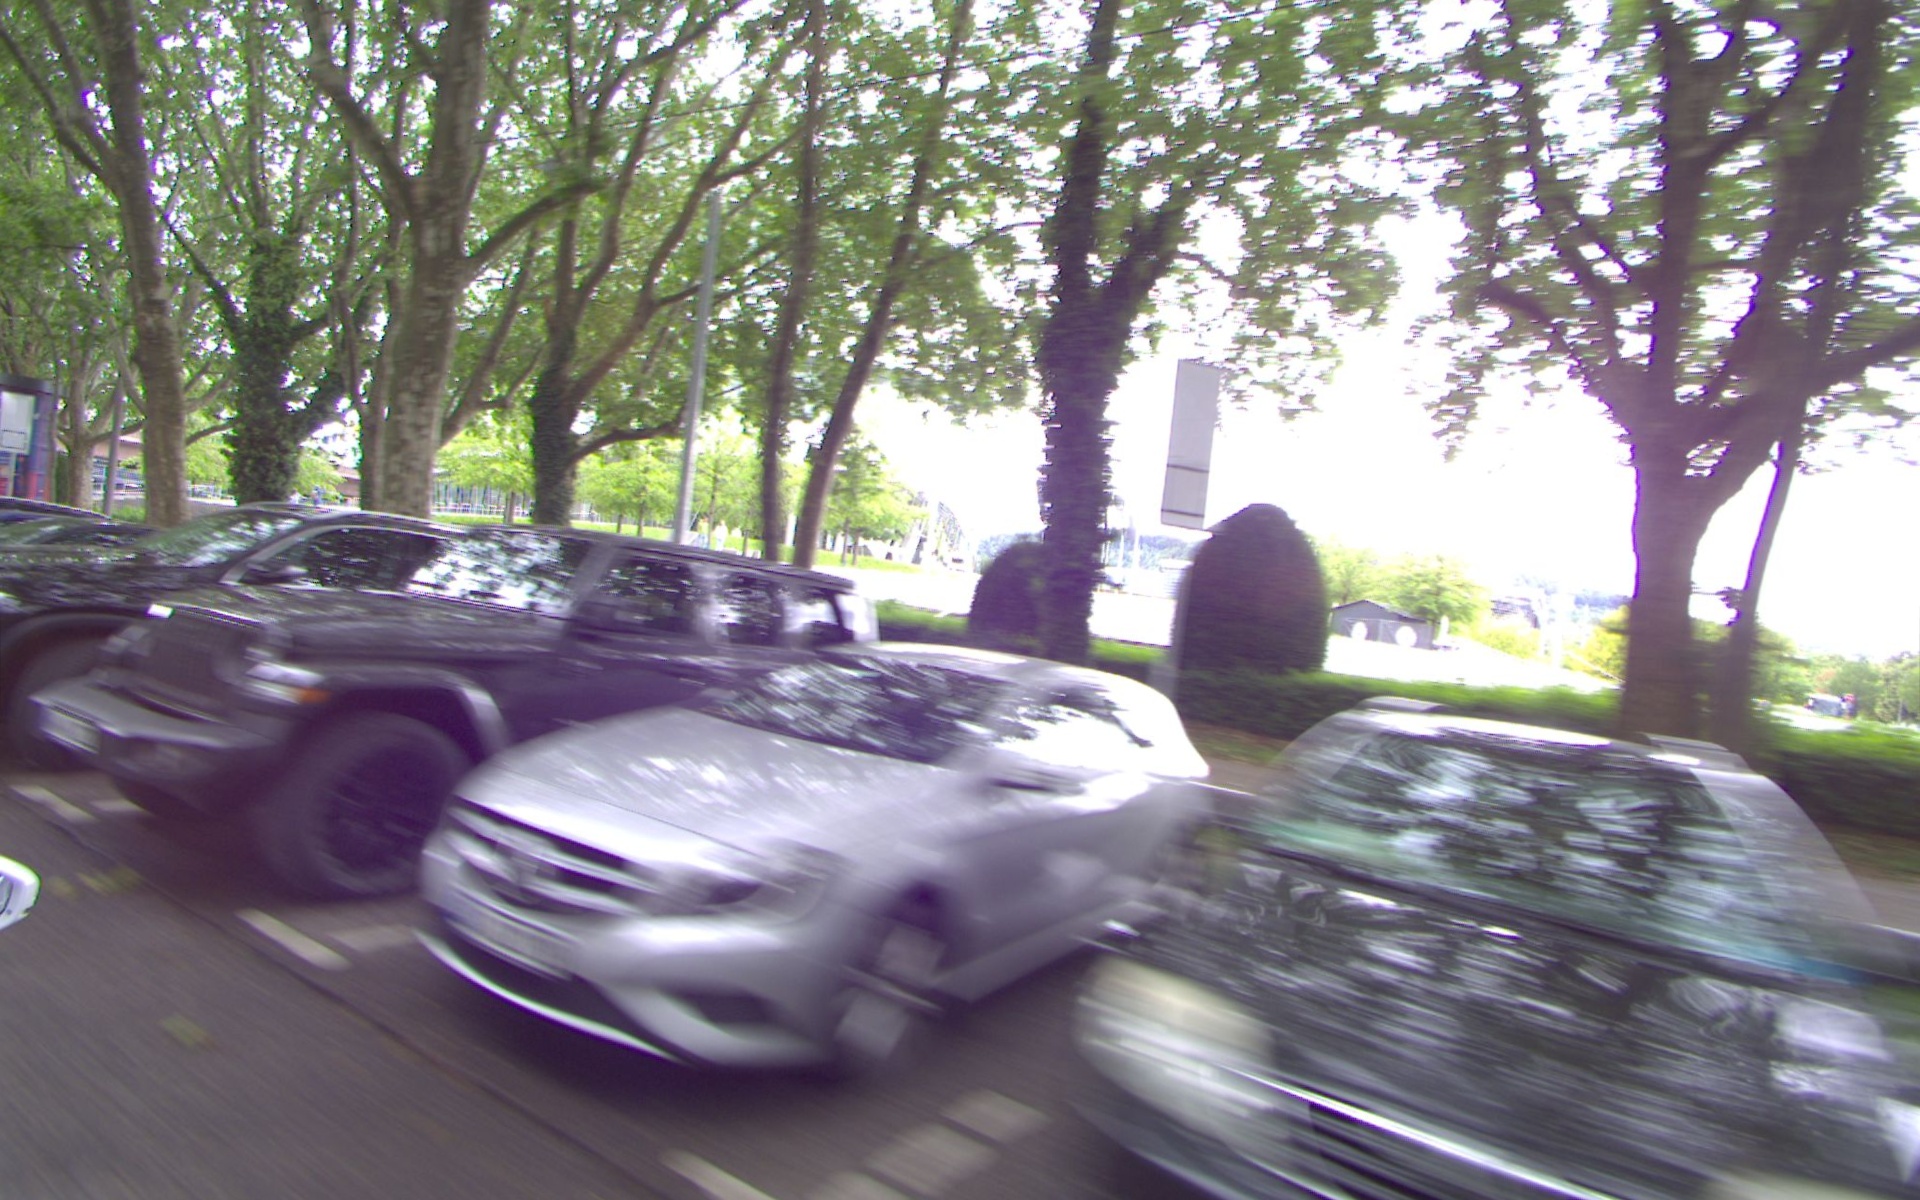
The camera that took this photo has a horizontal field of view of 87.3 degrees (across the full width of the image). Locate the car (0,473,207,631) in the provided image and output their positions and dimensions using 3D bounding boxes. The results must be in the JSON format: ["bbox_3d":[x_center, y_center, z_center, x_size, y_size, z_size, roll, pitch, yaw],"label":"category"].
[{"bbox_3d":[-12.803,-0.772,12.872,2.011,1.817,4.510,8,-2,26],"label":"car"}]

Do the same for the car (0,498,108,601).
[{"bbox_3d":[-16.758,-1.058,16.055,1.893,1.519,4.356,7,-2,31],"label":"car"}]

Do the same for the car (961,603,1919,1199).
[{"bbox_3d":[1.871,1.091,3.429,1.755,1.535,4.206,6,-3,31],"label":"car"}]

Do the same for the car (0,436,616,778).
[{"bbox_3d":[-5.099,0.114,7.334,2.013,1.817,4.505,7,-2,31],"label":"car"}]

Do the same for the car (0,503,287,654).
[{"bbox_3d":[-10.660,-0.343,11.495,1.799,1.436,4.502,7,-2,33],"label":"car"}]

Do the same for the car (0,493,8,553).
[{"bbox_3d":[-20.685,-1.579,18.229,1.842,1.658,4.598,7,-2,34],"label":"car"}]

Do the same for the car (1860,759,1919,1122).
[{"bbox_3d":[4.378,1.450,2.757,1.754,1.536,4.207,7,-2,29],"label":"car"}]

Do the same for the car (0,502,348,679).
[{"bbox_3d":[-8.927,-0.161,9.889,1.900,1.444,4.504,7,-2,32],"label":"car"}]

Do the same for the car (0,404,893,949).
[{"bbox_3d":[-2.545,0.387,5.983,2.012,1.888,4.508,8,-2,28],"label":"car"}]

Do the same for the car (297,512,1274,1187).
[{"bbox_3d":[-0.239,0.812,4.938,2.015,1.590,4.501,7,-2,35],"label":"car"}]

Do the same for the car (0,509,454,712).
[{"bbox_3d":[-6.871,0.120,8.757,1.711,1.406,3.990,7,-2,33],"label":"car"}]

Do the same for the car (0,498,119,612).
[{"bbox_3d":[-15.035,-0.882,14.205,1.891,1.519,4.360,8,-2,26],"label":"car"}]

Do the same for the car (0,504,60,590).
[{"bbox_3d":[-18.597,-1.216,17.190,1.894,1.429,4.354,7,-2,32],"label":"car"}]

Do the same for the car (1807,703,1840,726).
[{"bbox_3d":[90.405,11.986,105.420,1.968,2.037,3.991,6,-2,34],"label":"car"}]
